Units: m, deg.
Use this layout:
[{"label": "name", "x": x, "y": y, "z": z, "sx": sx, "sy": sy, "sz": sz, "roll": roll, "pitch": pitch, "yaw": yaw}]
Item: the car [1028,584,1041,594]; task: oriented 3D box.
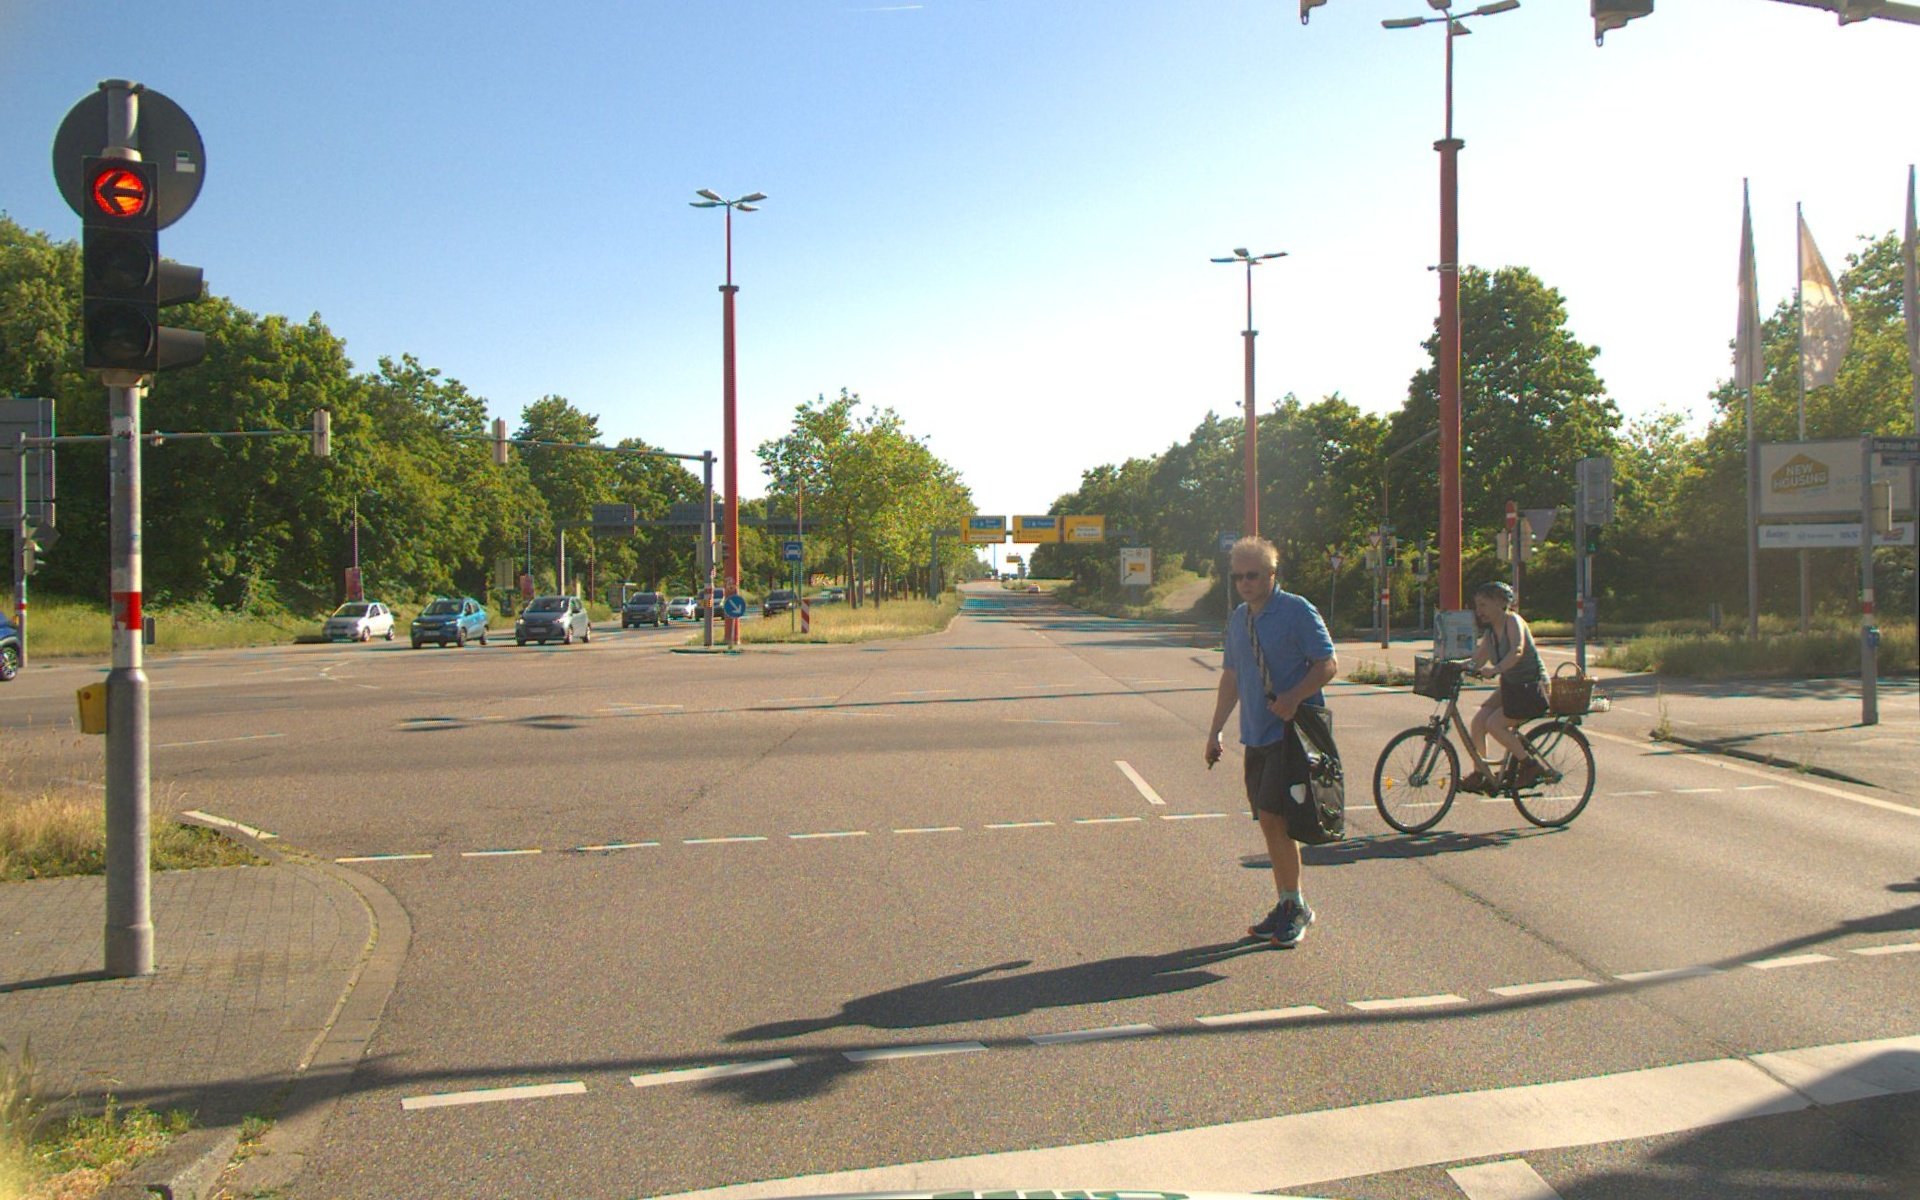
[{"label": "car", "x": 11.131, "y": -1.672, "z": 246.800, "sx": 1.758, "sy": 1.434, "sz": 3.999, "roll": 1, "pitch": 0, "yaw": -1}]

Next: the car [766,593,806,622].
[{"label": "car", "x": -9.378, "y": 0.387, "z": 89.213, "sx": 1.782, "sy": 1.534, "sz": 3.999, "roll": 0, "pitch": 0, "yaw": -1}]

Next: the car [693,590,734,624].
[{"label": "car", "x": -15.133, "y": 0.423, "z": 101.788, "sx": 1.855, "sy": 2.061, "sz": 5.221, "roll": 0, "pitch": 0, "yaw": -2}]

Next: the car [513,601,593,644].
[{"label": "car", "x": -12.673, "y": 0.672, "z": 51.693, "sx": 1.704, "sy": 1.265, "sz": 3.611, "roll": 0, "pitch": 0, "yaw": -2}]

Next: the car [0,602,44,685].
[{"label": "car", "x": -19.616, "y": 0.854, "z": 31.619, "sx": 1.953, "sy": 1.601, "sz": 4.106, "roll": 0, "pitch": 0, "yaw": -1}]

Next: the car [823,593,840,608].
[{"label": "car", "x": -14.635, "y": 0.082, "z": 189.002, "sx": 1.761, "sy": 1.668, "sz": 3.999, "roll": 0, "pitch": 0, "yaw": -2}]

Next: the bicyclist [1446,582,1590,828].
[{"label": "bicyclist", "x": 3.815, "y": 0.688, "z": 11.317, "sx": 0.653, "sy": 1.612, "sz": 0.666, "roll": 0, "pitch": 0, "yaw": -28}]

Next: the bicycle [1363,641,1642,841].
[{"label": "bicycle", "x": 3.704, "y": 0.913, "z": 11.254, "sx": 1.920, "sy": 1.216, "sz": 0.686, "roll": 0, "pitch": 0, "yaw": -29}]

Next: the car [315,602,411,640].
[{"label": "car", "x": -23.226, "y": 0.792, "z": 64.522, "sx": 1.713, "sy": 1.422, "sz": 4.004, "roll": 0, "pitch": 0, "yaw": 11}]

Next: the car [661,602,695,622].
[{"label": "car", "x": -18.814, "y": 0.790, "z": 110.419, "sx": 1.704, "sy": 1.265, "sz": 3.611, "roll": 0, "pitch": 0, "yaw": -2}]

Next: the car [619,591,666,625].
[{"label": "car", "x": -15.686, "y": 0.387, "z": 81.931, "sx": 1.704, "sy": 1.640, "sz": 3.611, "roll": 0, "pitch": 0, "yaw": -2}]

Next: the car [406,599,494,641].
[{"label": "car", "x": -15.970, "y": 0.608, "z": 51.936, "sx": 1.704, "sy": 1.265, "sz": 3.611, "roll": 0, "pitch": 0, "yaw": -2}]

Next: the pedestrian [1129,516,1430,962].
[{"label": "pedestrian", "x": 1.410, "y": 0.566, "z": 7.412, "sx": 0.971, "sy": 1.825, "sz": 0.948, "roll": 0, "pitch": 0, "yaw": -23}]
